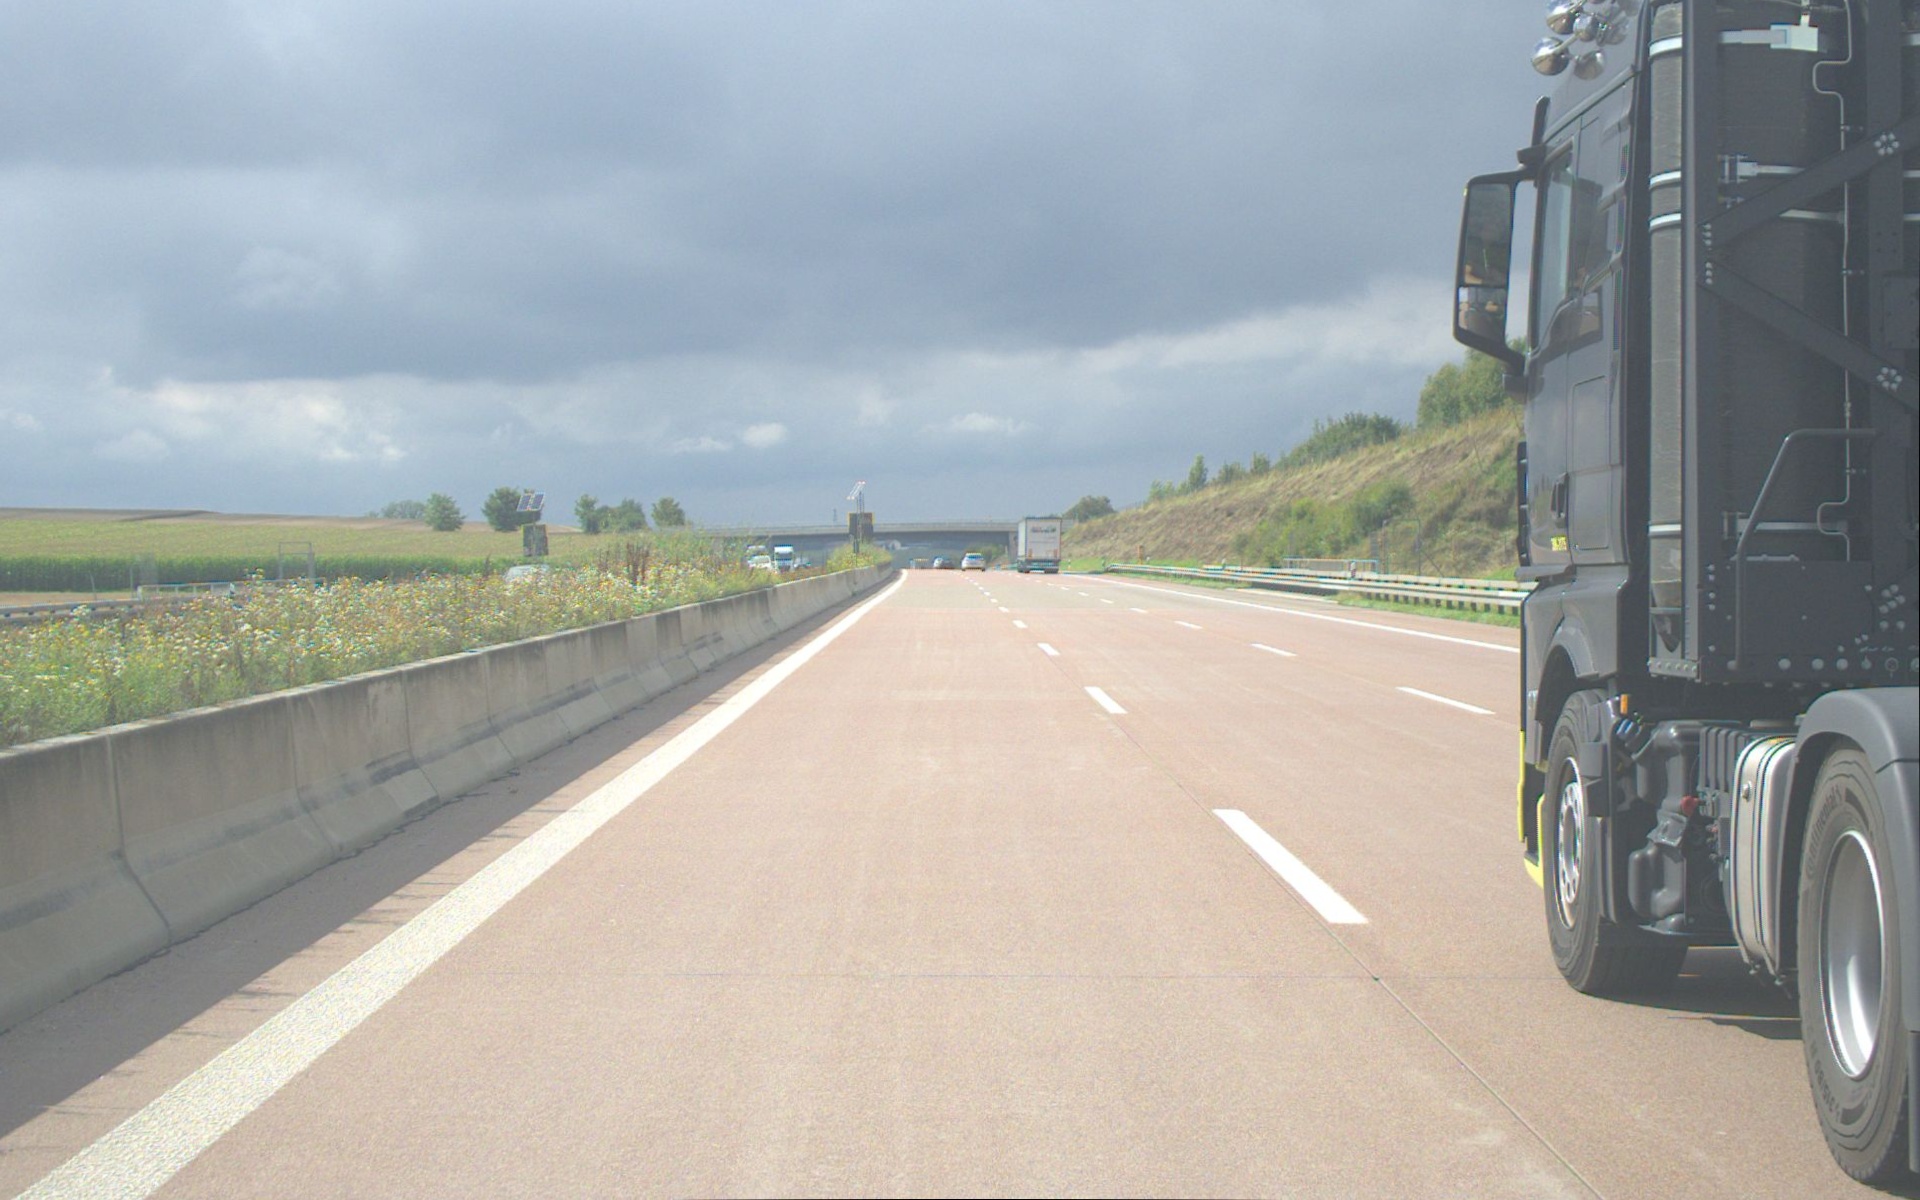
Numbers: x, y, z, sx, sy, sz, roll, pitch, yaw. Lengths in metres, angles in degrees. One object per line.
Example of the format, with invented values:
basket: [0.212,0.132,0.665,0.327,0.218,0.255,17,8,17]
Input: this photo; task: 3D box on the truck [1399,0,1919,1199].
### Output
truck: [3.384,-0.436,10.062,2.847,3.537,8.320,1,1,-2]

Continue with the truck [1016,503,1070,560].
truck: [6.010,-4.997,250.255,3.617,3.932,11.174,1,1,0]
